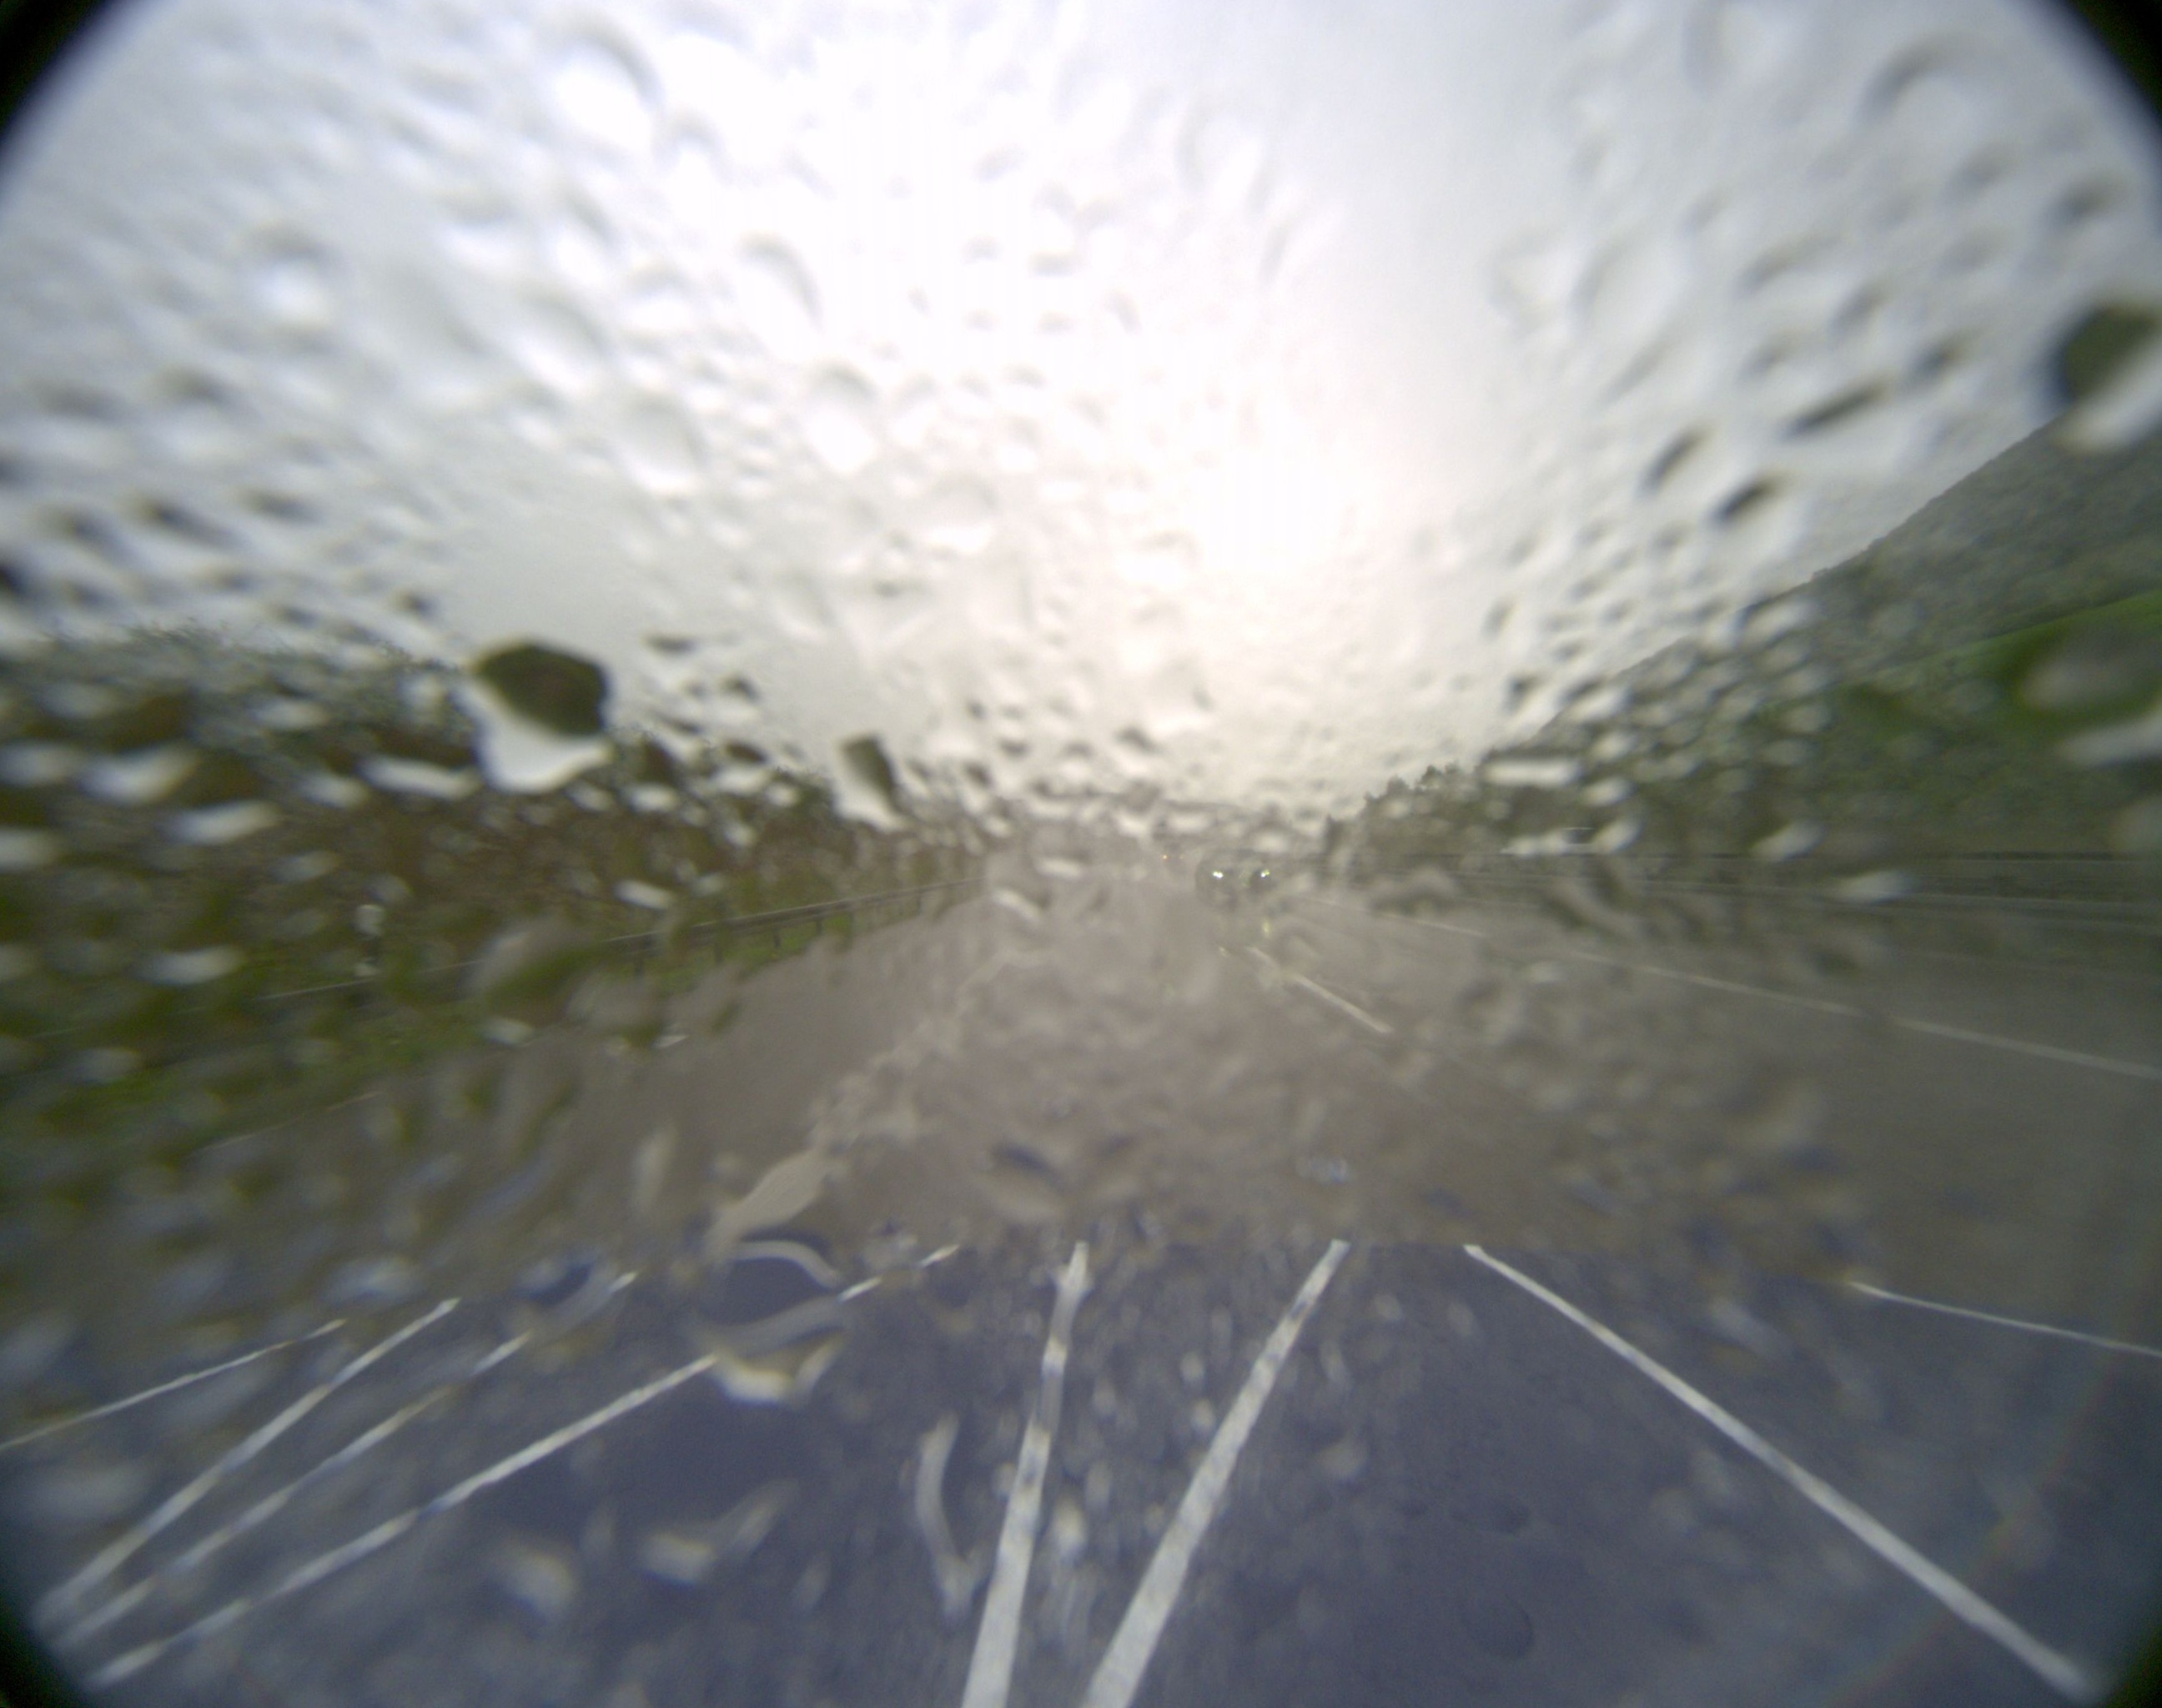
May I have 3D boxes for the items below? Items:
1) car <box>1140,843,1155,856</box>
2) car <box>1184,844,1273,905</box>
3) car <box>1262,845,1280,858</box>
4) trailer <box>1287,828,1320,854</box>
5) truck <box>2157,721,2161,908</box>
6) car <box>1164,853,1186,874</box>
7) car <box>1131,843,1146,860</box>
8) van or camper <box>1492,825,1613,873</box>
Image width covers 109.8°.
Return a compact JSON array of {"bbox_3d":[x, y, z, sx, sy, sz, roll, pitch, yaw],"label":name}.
[{"bbox_3d":[10.244,-0.683,117.380,1.998,2.002,4.001,-2,0,2],"label":"car"},{"bbox_3d":[4.645,0.588,24.521,1.815,1.692,3.747,-4,1,-4],"label":"car"},{"bbox_3d":[29.406,-0.416,117.632,1.918,2.002,4.001,-2,1,4],"label":"car"},{"bbox_3d":[32.310,-1.835,110.618,2.725,3.471,9.398,-2,1,5],"label":"trailer"},{"bbox_3d":[23.374,-0.829,12.823,2.891,3.780,5.315,-2,0,0],"label":"truck"},{"bbox_3d":[9.875,0.983,79.914,1.987,2.002,3.934,-2,0,3],"label":"car"},{"bbox_3d":[7.485,-0.341,98.684,1.835,2.002,3.939,-4,1,5],"label":"car"},{"bbox_3d":[20.276,-0.200,33.015,1.998,1.867,5.346,-2,0,1],"label":"van or camper"}]
